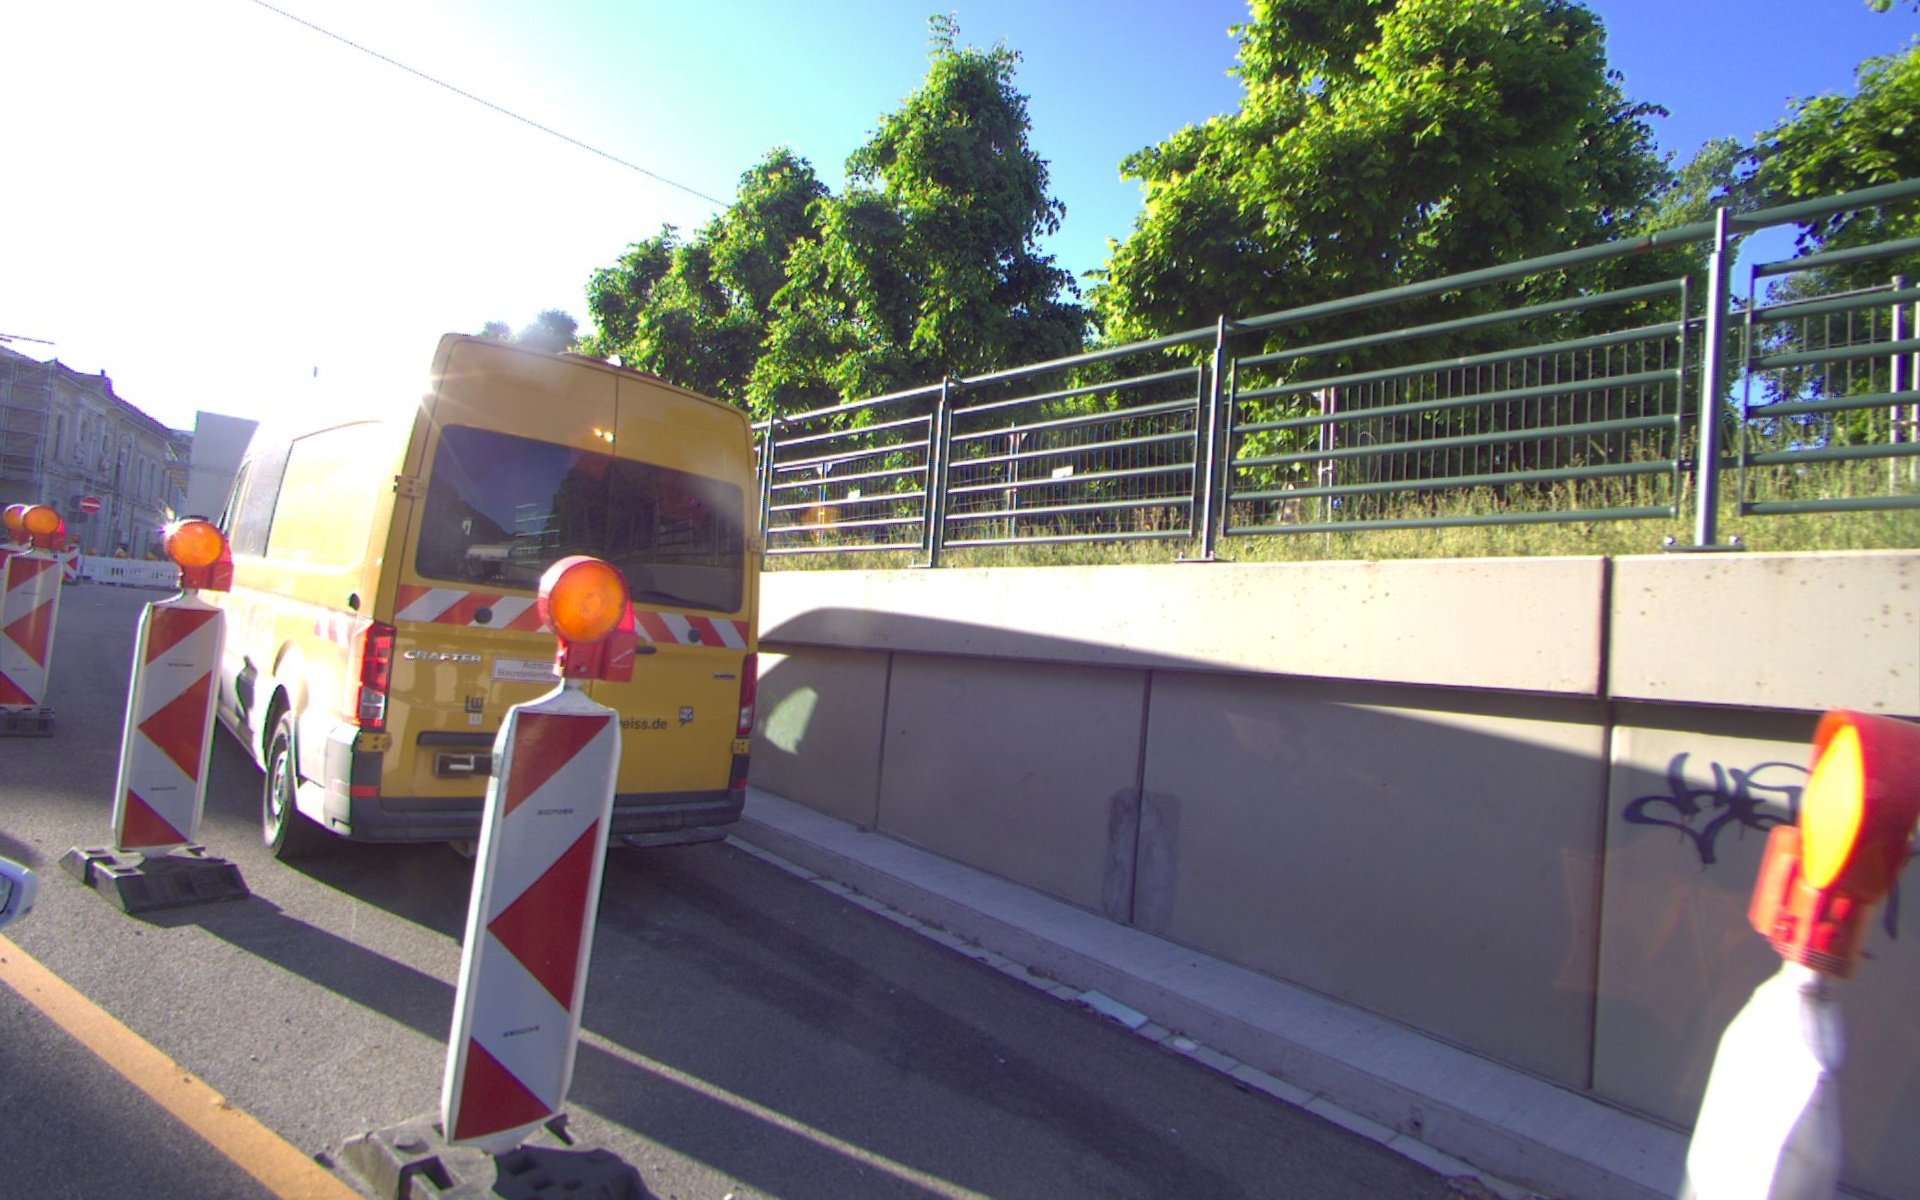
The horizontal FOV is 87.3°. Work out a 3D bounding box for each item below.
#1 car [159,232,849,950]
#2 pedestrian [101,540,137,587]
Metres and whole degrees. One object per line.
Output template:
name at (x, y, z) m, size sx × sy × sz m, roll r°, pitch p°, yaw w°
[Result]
car at (-3.785, -0.120, 6.974) m, size 2.105 × 2.656 × 6.904 m, roll 7°, pitch -1°, yaw -43°
pedestrian at (-33.158, -1.429, 39.660) m, size 0.969 × 1.749 × 0.791 m, roll 4°, pitch -2°, yaw -38°
